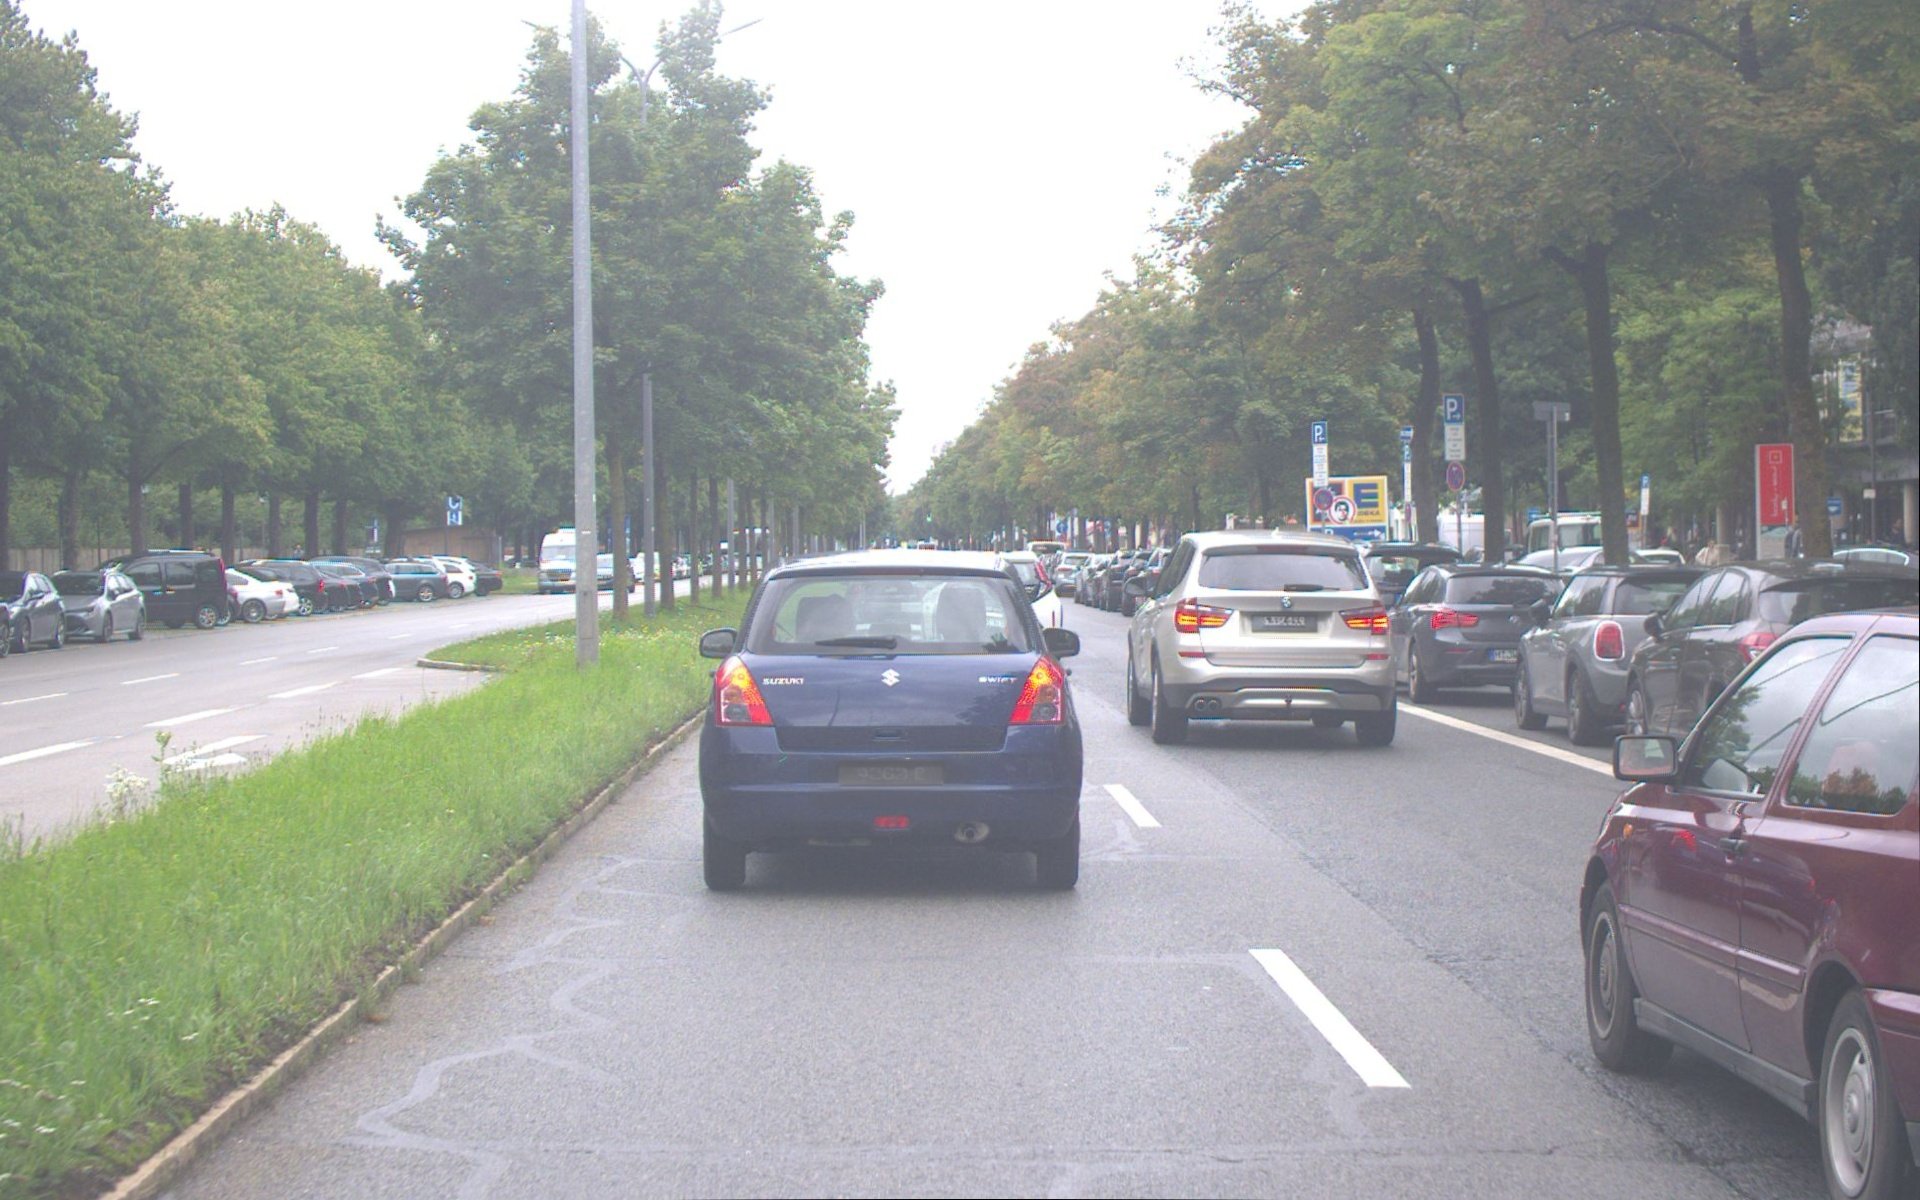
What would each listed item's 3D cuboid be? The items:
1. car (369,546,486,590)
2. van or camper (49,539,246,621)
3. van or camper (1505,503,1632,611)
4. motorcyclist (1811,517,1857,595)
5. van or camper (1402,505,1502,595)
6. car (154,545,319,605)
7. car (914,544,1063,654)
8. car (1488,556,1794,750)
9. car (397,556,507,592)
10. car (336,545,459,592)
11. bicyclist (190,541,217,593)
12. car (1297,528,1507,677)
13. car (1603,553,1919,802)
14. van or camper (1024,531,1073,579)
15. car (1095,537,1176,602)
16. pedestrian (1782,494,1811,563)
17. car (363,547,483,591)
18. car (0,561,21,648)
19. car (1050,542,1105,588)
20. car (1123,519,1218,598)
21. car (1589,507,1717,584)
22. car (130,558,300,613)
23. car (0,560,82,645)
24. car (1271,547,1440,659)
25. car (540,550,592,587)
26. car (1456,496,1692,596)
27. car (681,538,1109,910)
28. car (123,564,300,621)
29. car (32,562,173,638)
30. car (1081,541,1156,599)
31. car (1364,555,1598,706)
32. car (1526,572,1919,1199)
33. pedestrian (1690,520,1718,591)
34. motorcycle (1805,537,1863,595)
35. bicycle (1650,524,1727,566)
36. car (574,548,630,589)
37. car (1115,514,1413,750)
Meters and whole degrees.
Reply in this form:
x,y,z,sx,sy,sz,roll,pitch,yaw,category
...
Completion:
x,y,z,sx,sy,sz,roll,pitch,yaw,category
-20.836,-1.274,134.598,4.095,1.647,1.919,-1,1,-34,car
-19.185,-0.490,81.241,4.114,1.848,1.849,-1,1,-41,van or camper
14.995,-1.087,85.052,1.993,2.549,5.957,-1,1,-1,van or camper
20.342,-1.027,80.030,0.691,1.731,0.953,-5,1,-1,motorcyclist
14.510,-1.494,101.621,2.024,2.549,5.957,-1,1,-1,van or camper
-20.239,-0.705,96.258,4.096,1.591,1.919,-1,1,-40,car
0.350,-0.047,47.494,1.850,1.442,4.098,0,1,-2,car
5.506,0.377,28.245,1.634,1.448,4.078,0,1,-1,car
-20.775,-1.063,140.599,4.094,1.469,1.705,0,0,-34,car
-20.933,-1.185,127.937,4.095,1.689,1.919,-1,1,-34,car
-25.863,-1.133,117.478,0.705,1.741,0.923,-1,1,-1,bicyclist
5.220,-0.015,41.126,1.786,1.669,4.596,0,1,-2,car
5.638,0.449,23.238,1.717,1.503,4.224,0,1,-1,car
3.735,-1.915,145.577,1.944,1.968,4.306,0,1,0,van or camper
4.496,-0.804,88.717,1.764,1.646,4.424,0,1,-1,car
21.233,-1.817,87.251,0.575,1.745,0.732,0,1,4,pedestrian
-20.565,-1.194,131.577,4.095,1.579,1.919,-1,1,-34,car
-17.324,0.090,58.036,1.571,1.498,4.303,1,1,3,car
4.000,-1.213,117.541,1.684,1.520,4.456,1,1,0,car
4.622,-0.930,75.980,1.761,1.695,4.820,0,1,0,car
15.371,-1.216,76.447,1.993,1.645,4.000,-1,1,-1,car
-19.647,-0.395,90.712,4.031,1.377,1.674,-1,1,-36,car
-17.544,0.023,63.484,1.586,1.454,4.800,1,1,-2,car
5.312,0.005,46.656,1.653,1.429,4.483,0,1,-2,car
-17.083,-1.378,149.298,1.913,1.537,4.188,-1,1,-2,car
10.465,-0.902,58.347,1.971,1.619,4.836,0,1,37,car
-0.358,0.487,16.464,1.789,1.550,4.001,0,1,-2,car
-19.087,-0.208,87.704,3.987,1.349,1.850,-1,1,-35,car
-17.457,-0.029,70.177,1.636,1.434,4.809,1,1,0,car
4.341,-0.839,94.486,1.764,1.541,4.424,0,1,-1,car
5.307,0.266,35.496,1.633,1.434,4.305,0,1,-2,car
2.610,0.673,8.638,1.622,1.449,3.950,0,1,-1,car
18.519,-1.105,85.538,0.575,1.745,0.732,0,1,4,pedestrian
20.370,-0.798,80.197,0.696,1.286,2.066,-5,1,-1,motorcycle
26.552,-2.010,125.255,2.609,1.503,0.798,-1,1,-7,bicycle
-14.025,-1.245,134.734,1.913,1.537,4.188,-1,1,-2,car
2.350,0.204,27.579,1.850,1.737,4.098,0,1,-2,car
